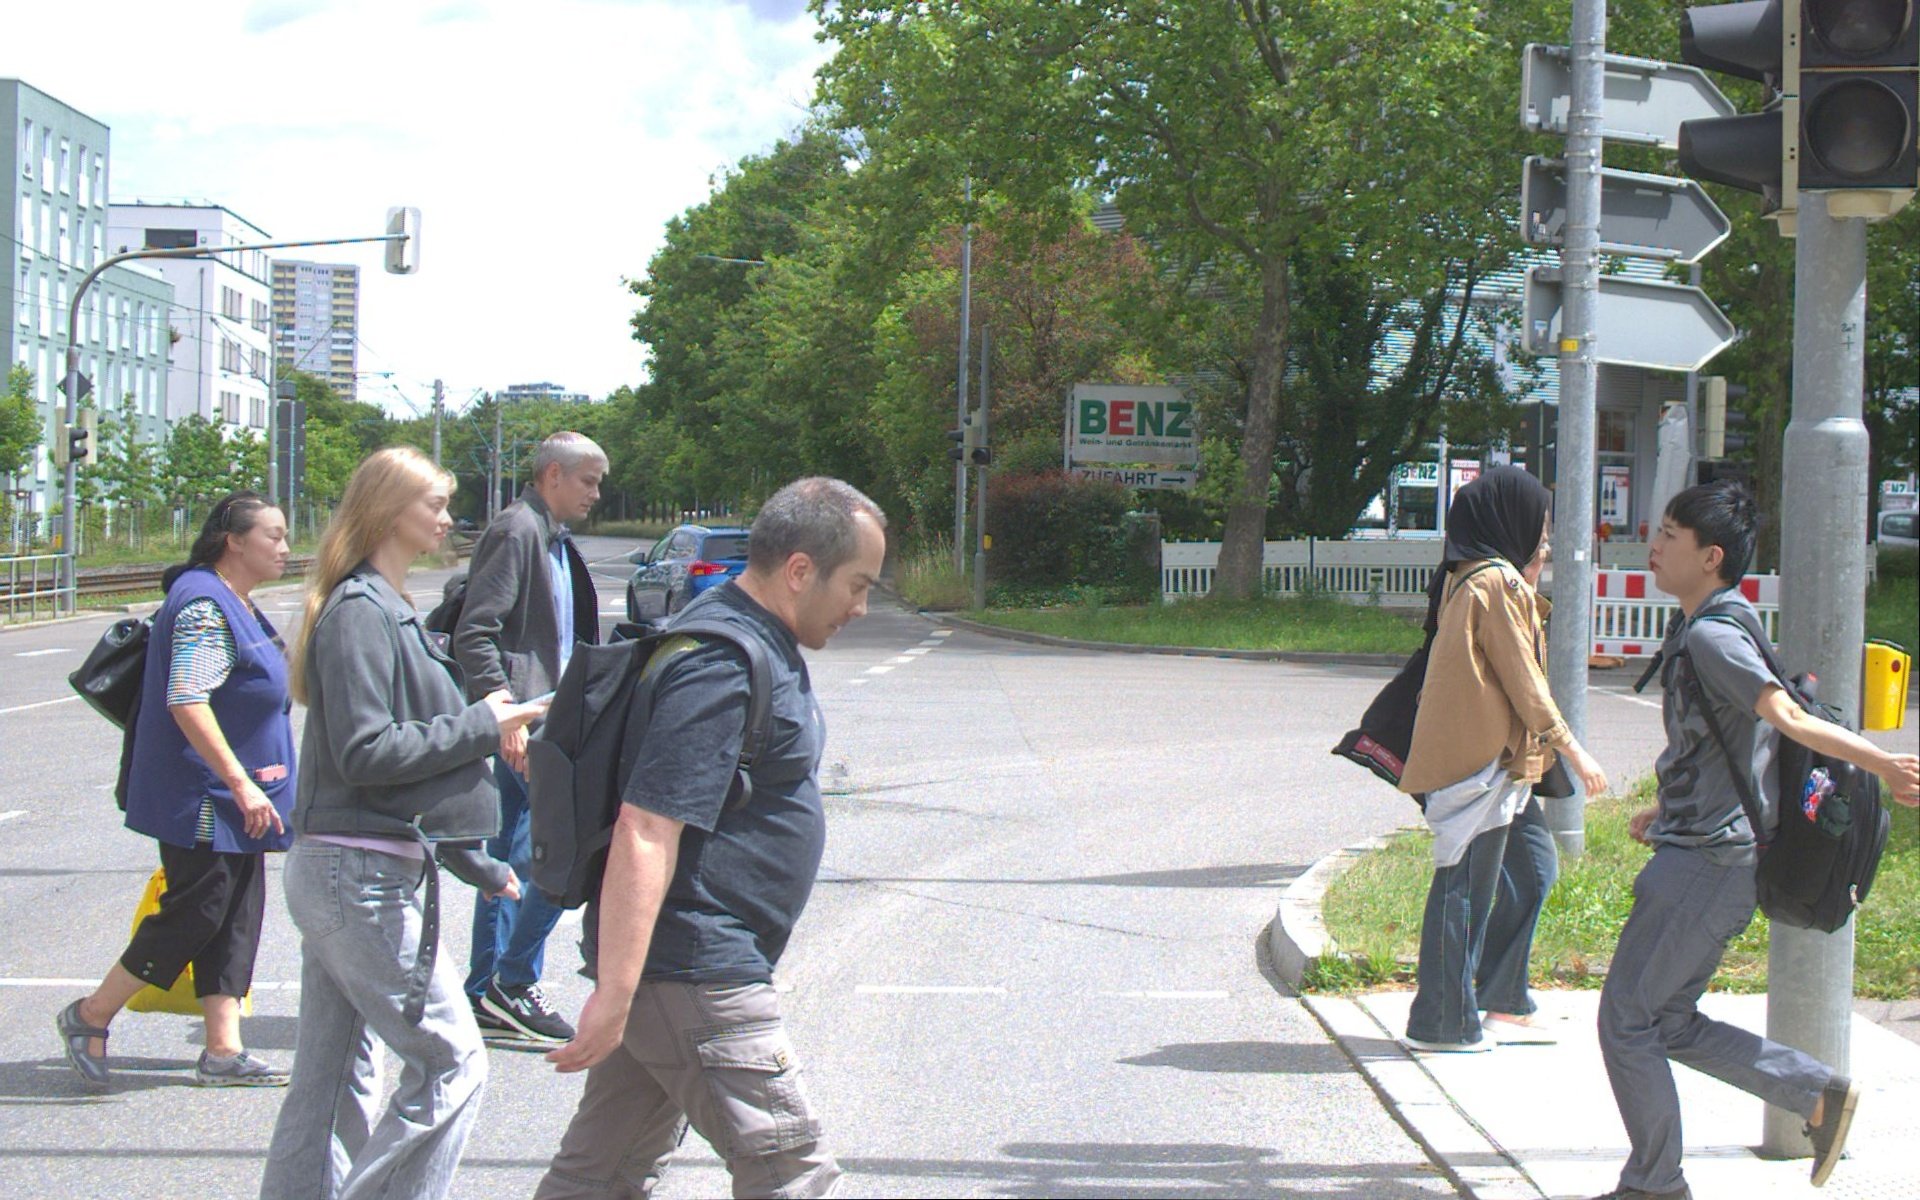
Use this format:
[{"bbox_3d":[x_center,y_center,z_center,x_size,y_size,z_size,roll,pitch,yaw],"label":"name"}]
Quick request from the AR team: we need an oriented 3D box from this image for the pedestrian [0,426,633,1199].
[{"bbox_3d":[-1.179,0.514,6.398,1.020,1.642,0.929,1,1,2],"label":"pedestrian"}]

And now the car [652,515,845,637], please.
[{"bbox_3d":[-2.774,-0.343,44.194,1.982,1.481,4.492,0,1,-10],"label":"car"}]

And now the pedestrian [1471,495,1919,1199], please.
[{"bbox_3d":[1.638,0.564,7.100,0.946,1.547,0.844,0,1,-7],"label":"pedestrian"}]

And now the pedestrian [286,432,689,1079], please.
[{"bbox_3d":[-1.336,0.415,9.903,1.002,1.767,0.929,1,1,2],"label":"pedestrian"}]

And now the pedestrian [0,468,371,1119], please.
[{"bbox_3d":[-2.088,0.467,8.957,0.912,1.601,0.929,1,1,2],"label":"pedestrian"}]

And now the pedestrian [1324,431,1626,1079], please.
[{"bbox_3d":[1.432,0.407,9.690,0.782,1.737,0.828,1,1,6],"label":"pedestrian"}]

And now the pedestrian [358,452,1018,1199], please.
[{"bbox_3d":[-0.403,0.598,5.481,0.958,1.642,0.880,1,1,0],"label":"pedestrian"}]

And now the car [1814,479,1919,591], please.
[{"bbox_3d":[17.740,-1.182,62.563,1.993,2.007,4.000,0,2,-32],"label":"car"}]
